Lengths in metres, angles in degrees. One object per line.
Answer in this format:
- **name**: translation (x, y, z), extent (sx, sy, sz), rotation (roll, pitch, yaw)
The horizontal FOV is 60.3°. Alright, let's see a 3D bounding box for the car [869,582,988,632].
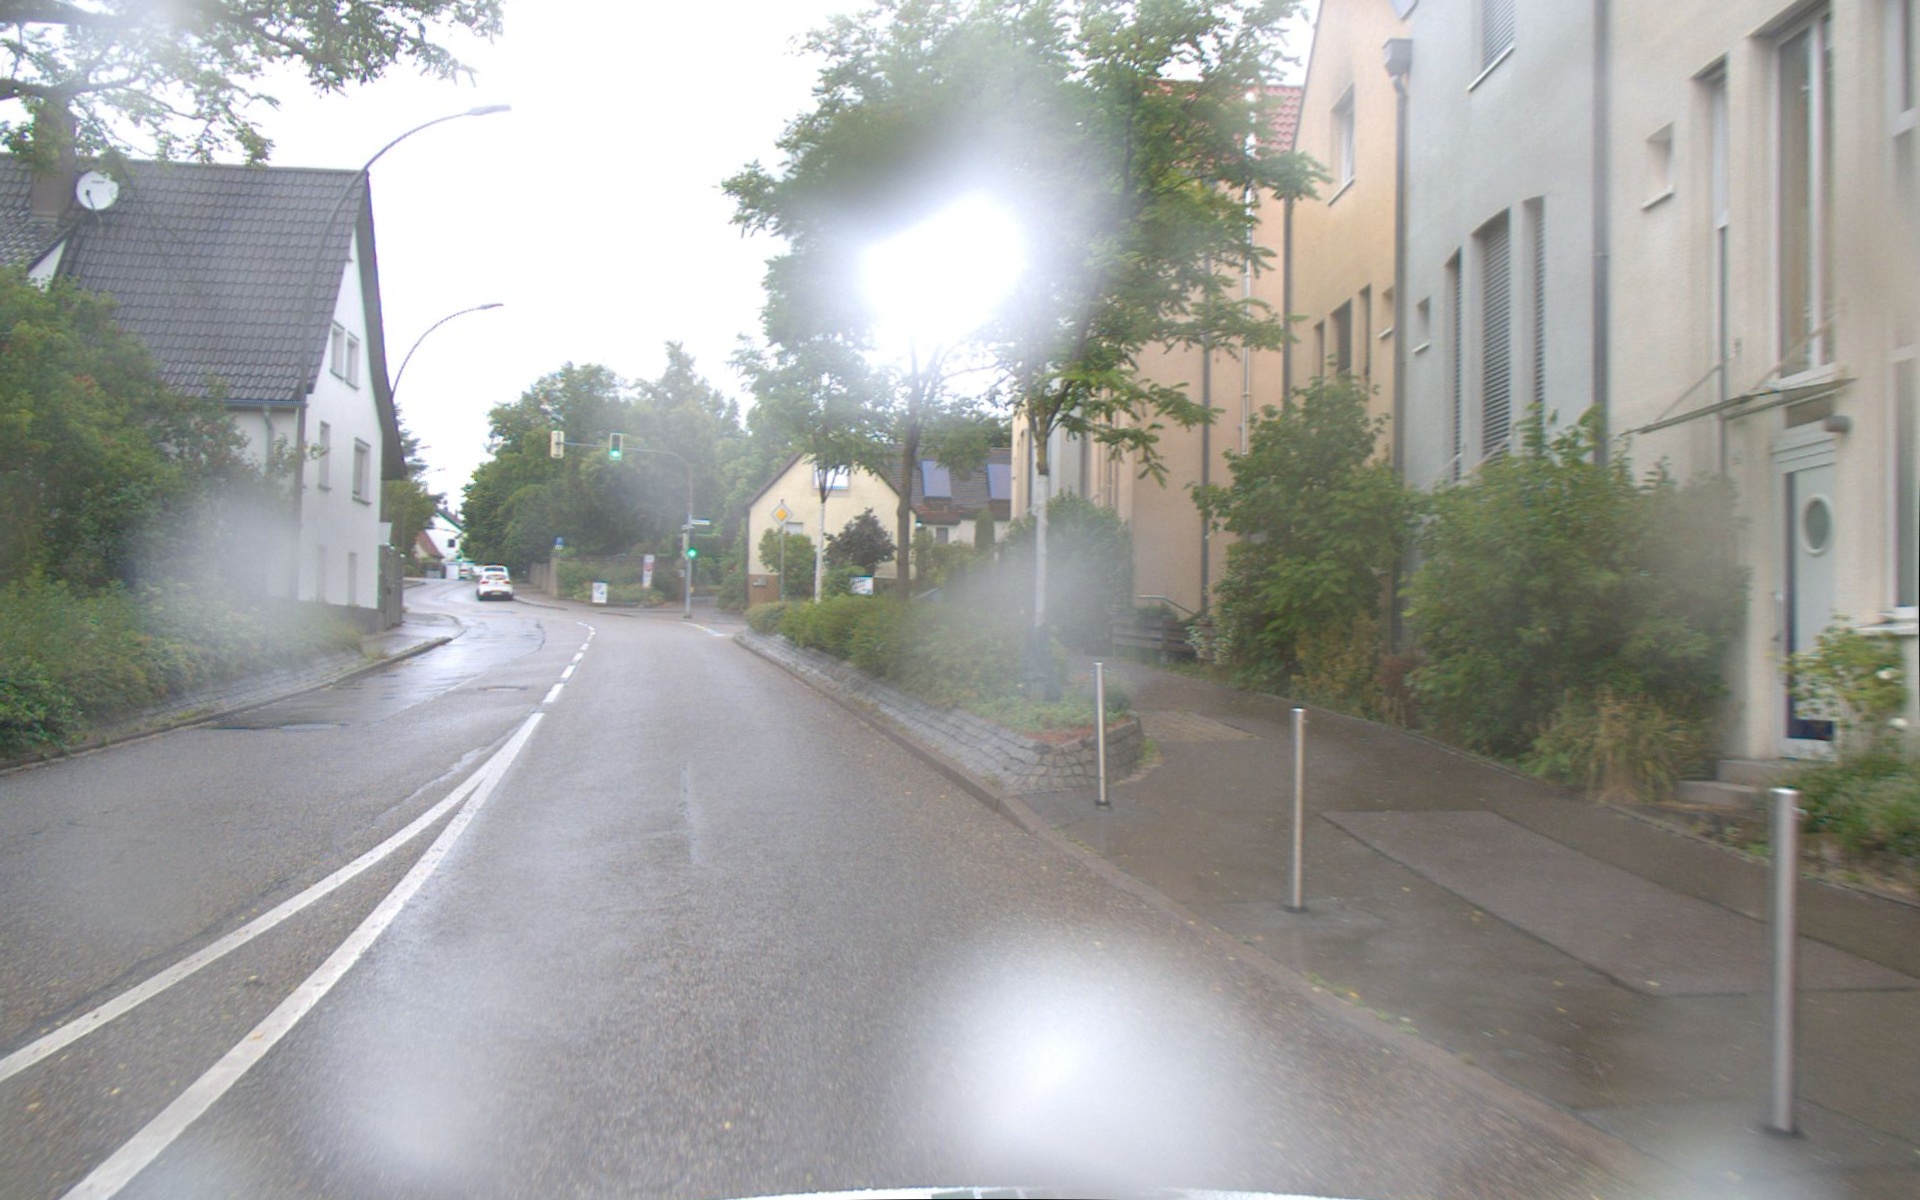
- **car**: translation (-1.079, 0.245, 57.846), extent (4.047, 1.613, 1.864), rotation (2, -1, 0)

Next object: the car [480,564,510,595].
- **car**: translation (-27.757, -1.237, 98.868), extent (1.610, 1.771, 4.119), rotation (1, 0, -15)

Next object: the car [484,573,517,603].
- **car**: translation (-24.621, -0.642, 88.540), extent (1.586, 1.506, 4.019), rotation (1, 0, -17)
